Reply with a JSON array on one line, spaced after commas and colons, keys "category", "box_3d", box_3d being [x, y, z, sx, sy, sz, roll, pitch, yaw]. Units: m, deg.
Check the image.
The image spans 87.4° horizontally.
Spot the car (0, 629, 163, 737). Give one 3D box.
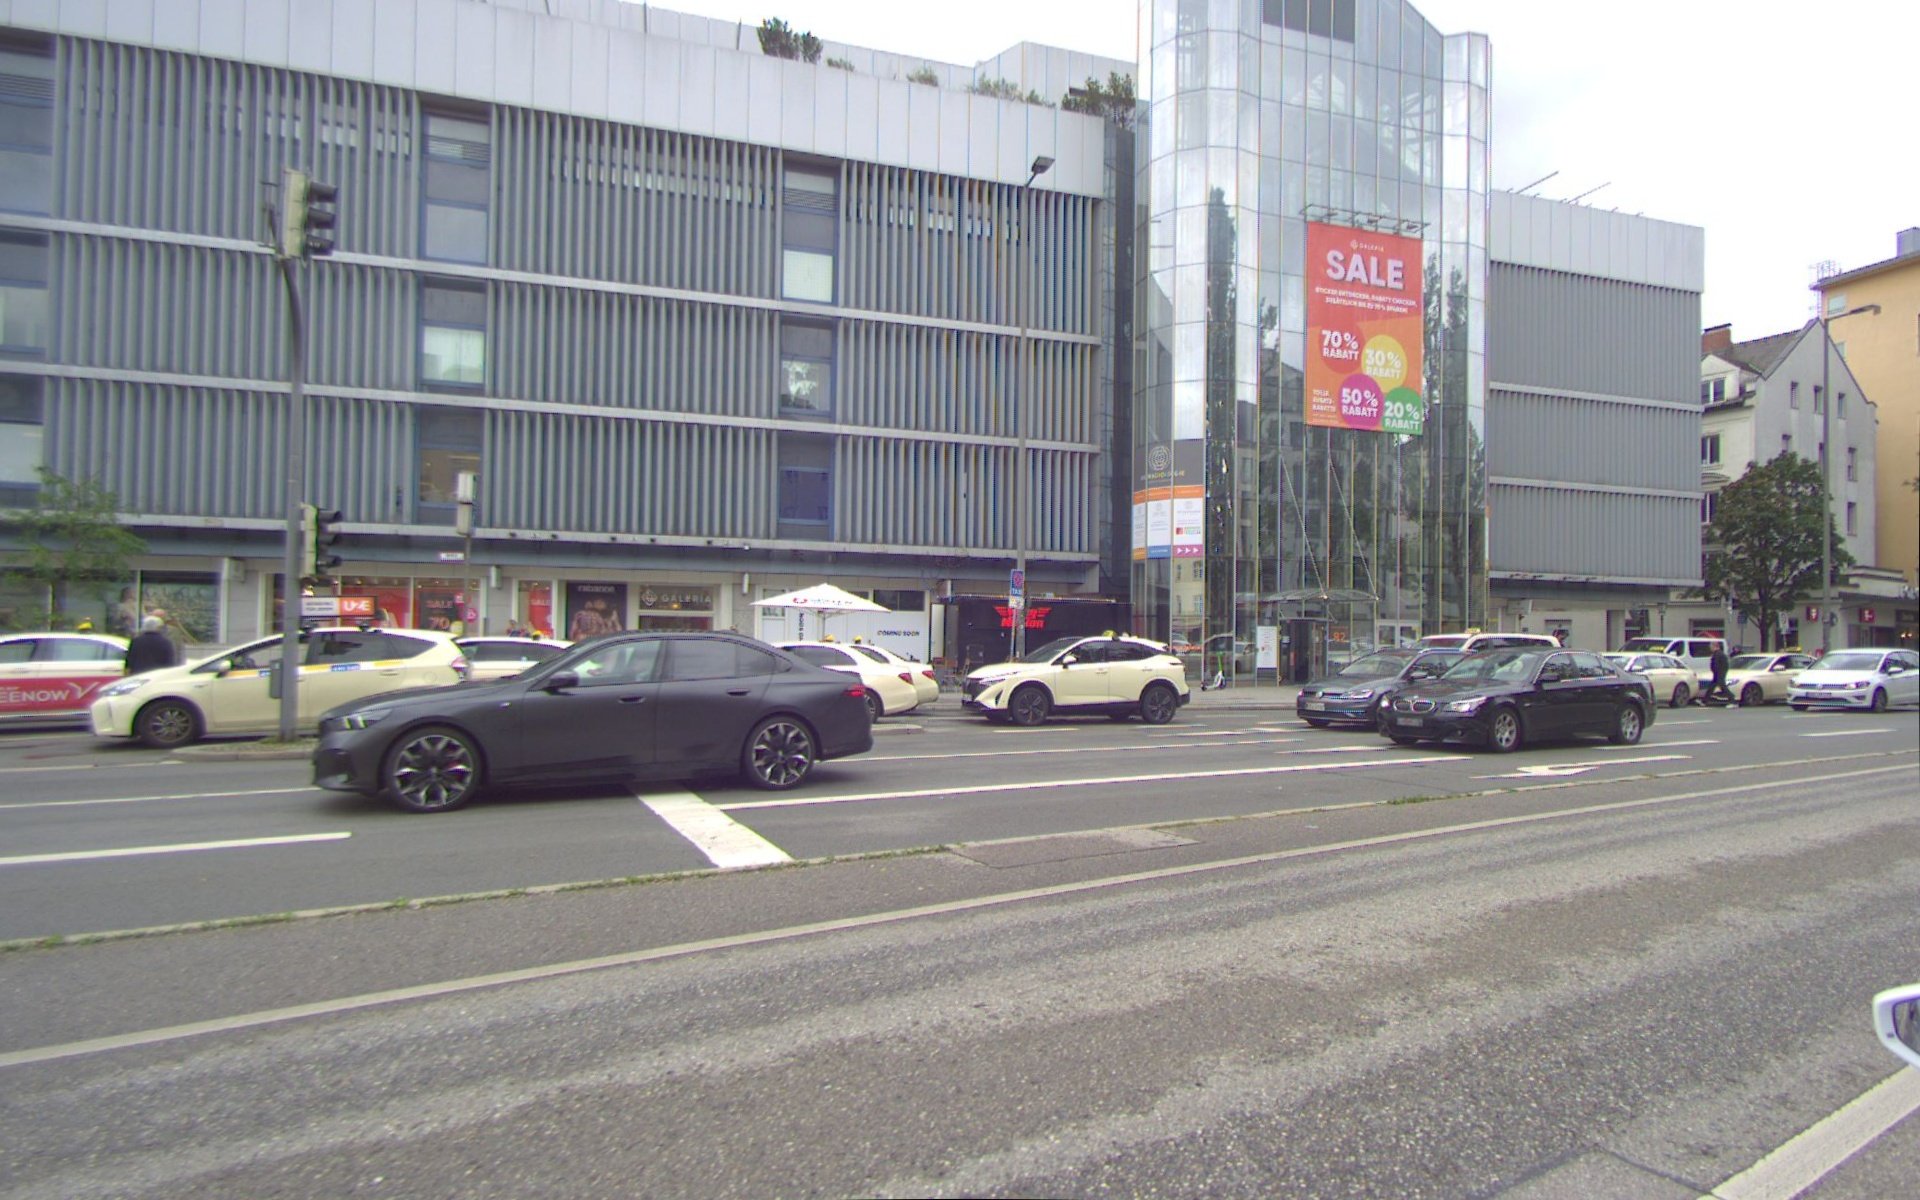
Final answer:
[{"category": "car", "box_3d": [-14.460, 1.181, 14.657, 4.270, 1.530, 1.836, 2, -3, -44]}]

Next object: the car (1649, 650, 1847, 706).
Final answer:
[{"category": "car", "box_3d": [22.345, 2.190, 28.526, 4.900, 1.488, 1.858, 1, -4, -16]}]

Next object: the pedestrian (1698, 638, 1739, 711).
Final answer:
[{"category": "pedestrian", "box_3d": [20.364, 1.980, 26.982, 0.774, 1.891, 0.845, 0, -2, 30]}]

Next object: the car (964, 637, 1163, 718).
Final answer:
[{"category": "car", "box_3d": [2.232, 1.651, 21.823, 3.936, 1.637, 1.771, 1, -2, -17]}]

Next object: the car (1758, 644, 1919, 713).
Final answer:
[{"category": "car", "box_3d": [22.498, 1.938, 25.395, 4.232, 1.621, 1.987, 2, -2, -26]}]

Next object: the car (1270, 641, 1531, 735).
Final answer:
[{"category": "car", "box_3d": [8.287, 1.570, 18.807, 4.888, 1.566, 1.951, 2, -3, -29]}]

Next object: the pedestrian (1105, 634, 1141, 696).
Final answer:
[{"category": "pedestrian", "box_3d": [4.823, 1.912, 29.736, 0.805, 1.828, 0.789, 1, -2, -17]}]

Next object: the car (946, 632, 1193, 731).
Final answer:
[{"category": "car", "box_3d": [2.064, 1.515, 19.148, 4.315, 1.720, 1.884, 1, -3, -19]}]

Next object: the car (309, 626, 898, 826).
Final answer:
[{"category": "car", "box_3d": [-3.263, 1.060, 9.787, 4.959, 1.527, 1.986, 2, -2, -28]}]

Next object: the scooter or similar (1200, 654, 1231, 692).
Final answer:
[{"category": "scooter or similar", "box_3d": [8.013, 2.270, 31.450, 0.362, 1.155, 1.375, -1, -3, 41]}]

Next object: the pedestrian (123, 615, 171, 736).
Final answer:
[{"category": "pedestrian", "box_3d": [-11.477, 1.053, 14.192, 0.420, 1.677, 0.362, 2, -1, -30]}]

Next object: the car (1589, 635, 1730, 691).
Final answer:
[{"category": "car", "box_3d": [26.918, 2.396, 38.670, 5.036, 2.040, 1.991, 1, -2, -21]}]

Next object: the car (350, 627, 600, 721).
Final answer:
[{"category": "car", "box_3d": [-8.899, 1.316, 18.649, 3.949, 1.587, 1.900, 2, -2, -27]}]

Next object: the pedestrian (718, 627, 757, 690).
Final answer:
[{"category": "pedestrian", "box_3d": [-5.584, 1.462, 25.203, 0.884, 1.566, 0.731, 1, -2, -17]}]

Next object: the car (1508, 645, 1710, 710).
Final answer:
[{"category": "car", "box_3d": [17.251, 2.021, 26.699, 5.010, 1.572, 1.975, 1, -2, -21]}]

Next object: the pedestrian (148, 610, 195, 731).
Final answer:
[{"category": "pedestrian", "box_3d": [-11.731, 1.032, 14.952, 0.424, 1.751, 0.521, 2, -1, -30]}]

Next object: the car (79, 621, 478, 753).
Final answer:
[{"category": "car", "box_3d": [-9.369, 1.169, 14.262, 4.424, 1.633, 1.579, 2, -3, -30]}]

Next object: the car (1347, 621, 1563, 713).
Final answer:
[{"category": "car", "box_3d": [12.065, 1.618, 24.436, 5.253, 2.040, 1.987, 2, -3, -27]}]

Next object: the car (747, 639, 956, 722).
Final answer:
[{"category": "car", "box_3d": [-2.225, 1.611, 20.606, 3.941, 1.557, 1.749, 2, -2, -22]}]

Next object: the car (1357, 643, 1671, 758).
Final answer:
[{"category": "car", "box_3d": [8.359, 1.413, 15.092, 4.673, 1.506, 1.830, 1, -2, -27]}]

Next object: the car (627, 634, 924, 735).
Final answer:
[{"category": "car", "box_3d": [-3.184, 1.389, 17.282, 4.774, 1.561, 1.944, 1, -2, -20]}]
